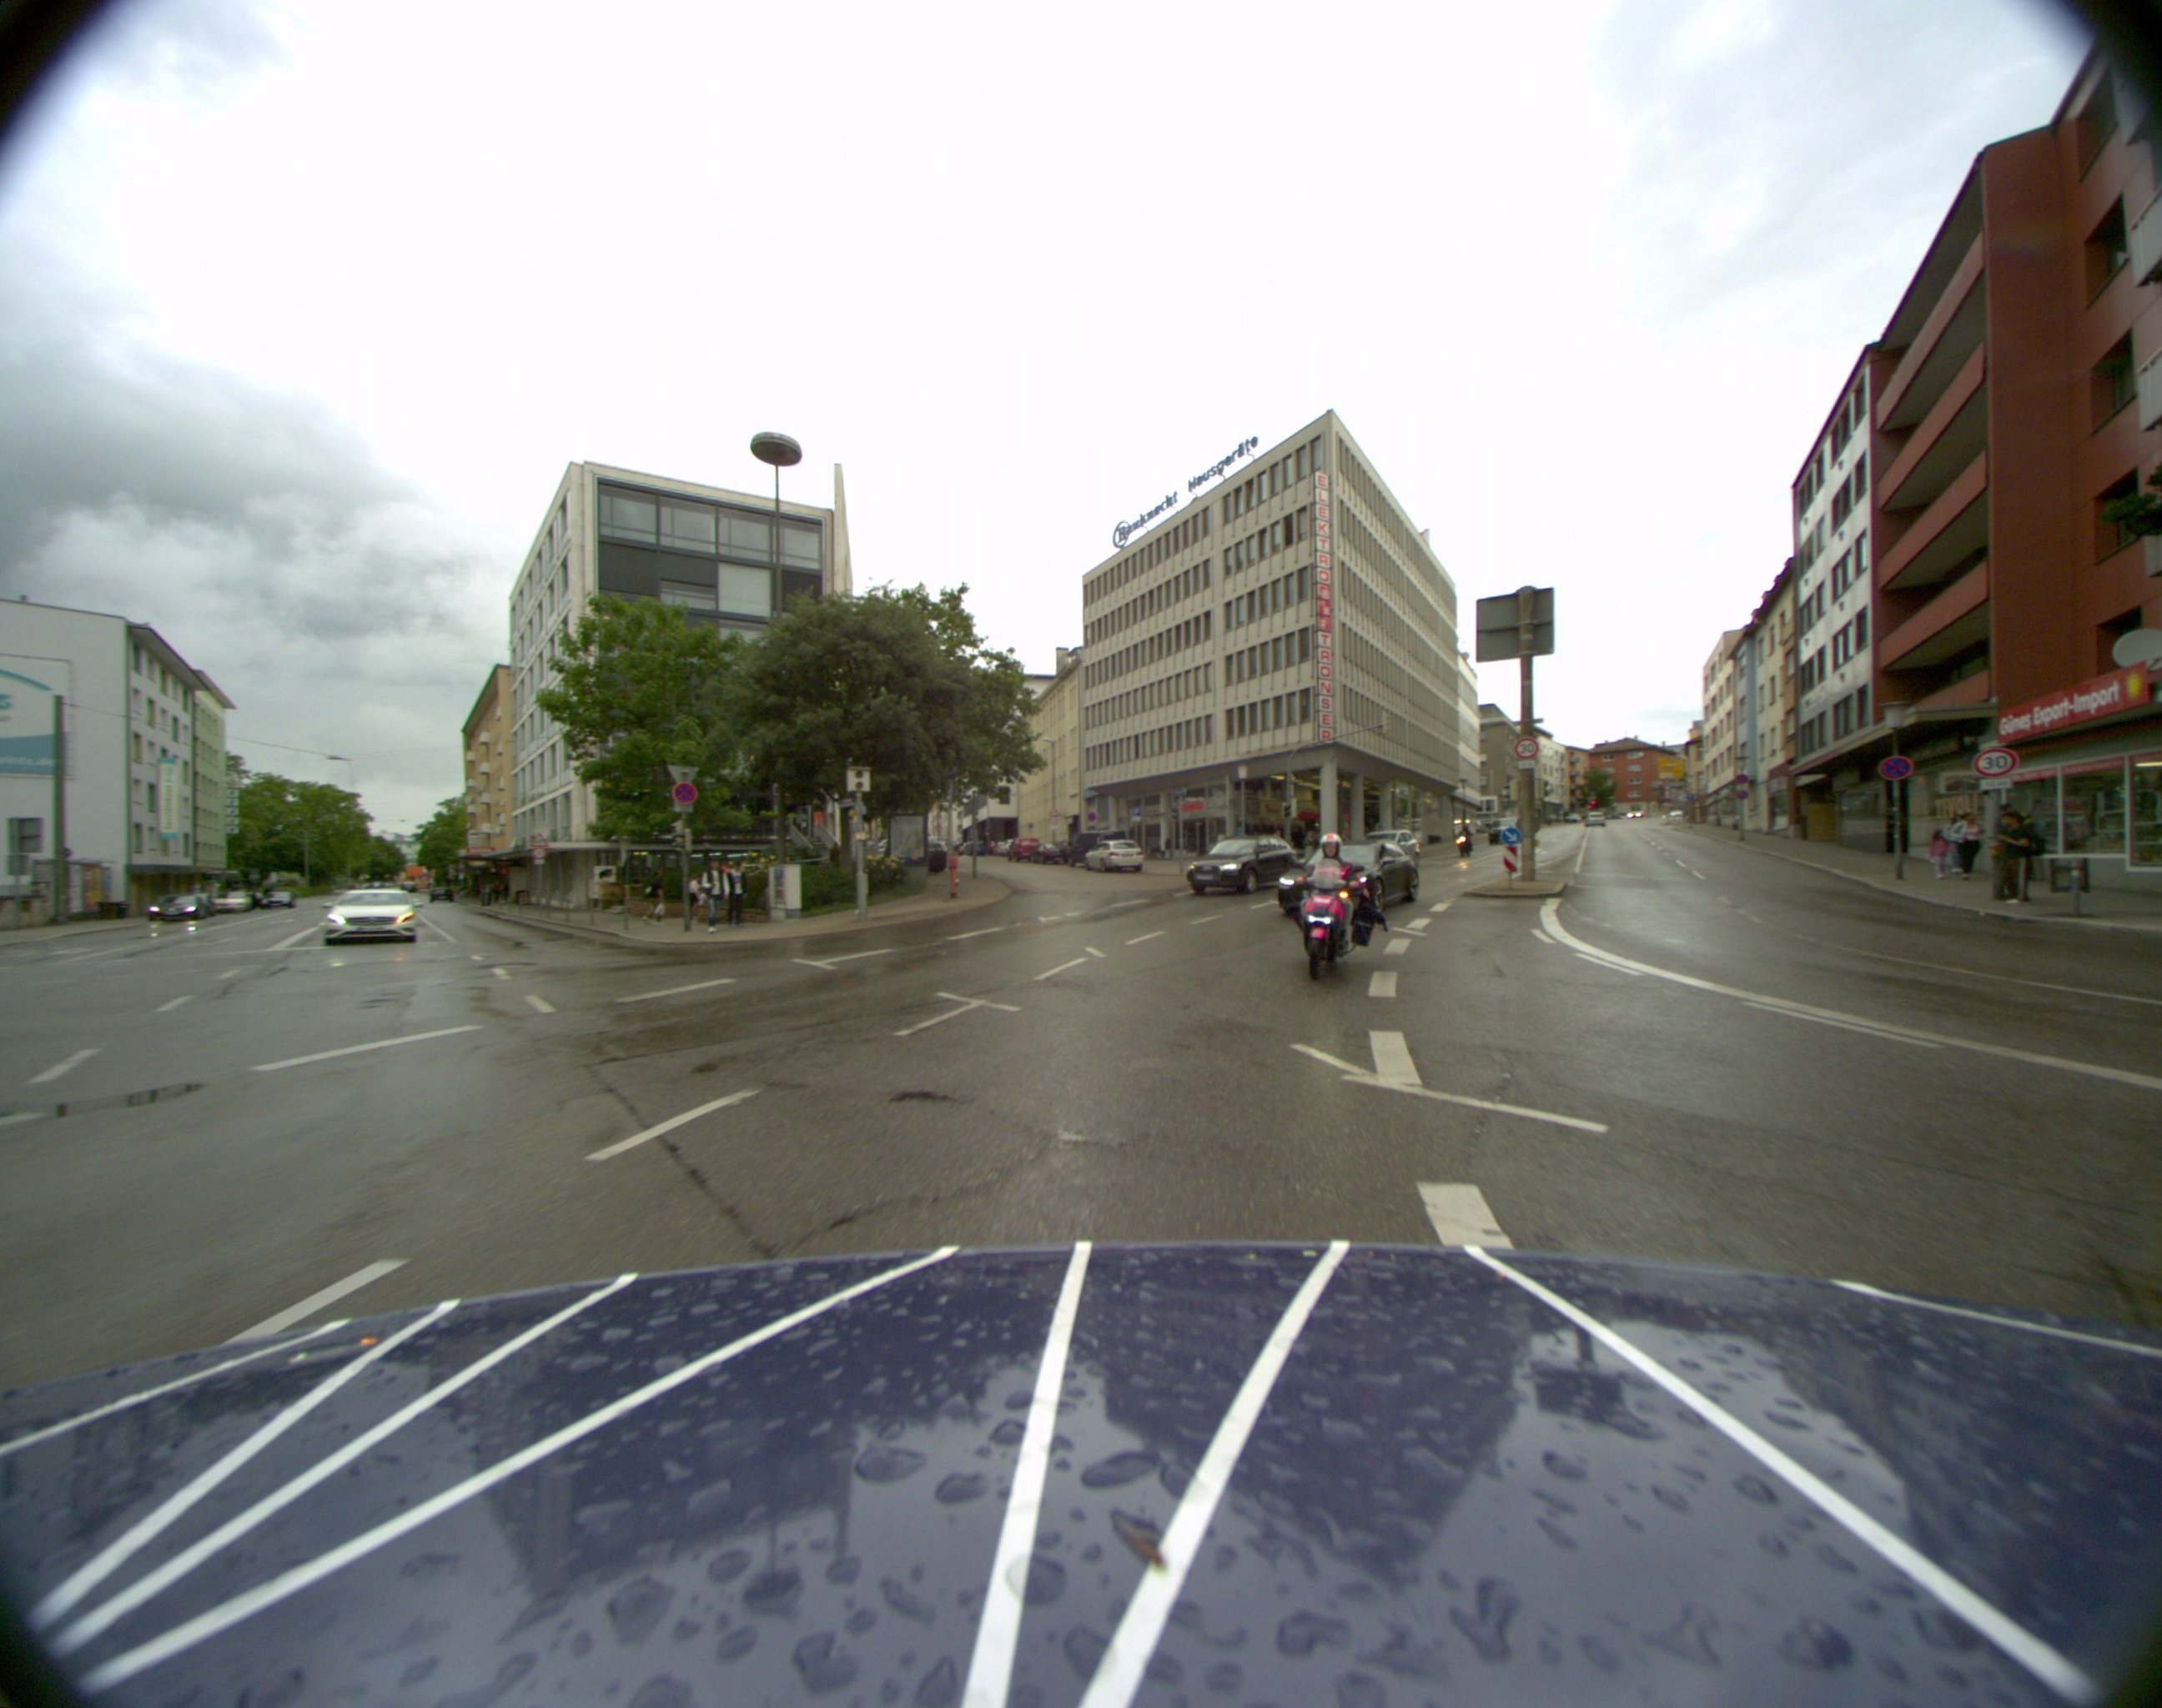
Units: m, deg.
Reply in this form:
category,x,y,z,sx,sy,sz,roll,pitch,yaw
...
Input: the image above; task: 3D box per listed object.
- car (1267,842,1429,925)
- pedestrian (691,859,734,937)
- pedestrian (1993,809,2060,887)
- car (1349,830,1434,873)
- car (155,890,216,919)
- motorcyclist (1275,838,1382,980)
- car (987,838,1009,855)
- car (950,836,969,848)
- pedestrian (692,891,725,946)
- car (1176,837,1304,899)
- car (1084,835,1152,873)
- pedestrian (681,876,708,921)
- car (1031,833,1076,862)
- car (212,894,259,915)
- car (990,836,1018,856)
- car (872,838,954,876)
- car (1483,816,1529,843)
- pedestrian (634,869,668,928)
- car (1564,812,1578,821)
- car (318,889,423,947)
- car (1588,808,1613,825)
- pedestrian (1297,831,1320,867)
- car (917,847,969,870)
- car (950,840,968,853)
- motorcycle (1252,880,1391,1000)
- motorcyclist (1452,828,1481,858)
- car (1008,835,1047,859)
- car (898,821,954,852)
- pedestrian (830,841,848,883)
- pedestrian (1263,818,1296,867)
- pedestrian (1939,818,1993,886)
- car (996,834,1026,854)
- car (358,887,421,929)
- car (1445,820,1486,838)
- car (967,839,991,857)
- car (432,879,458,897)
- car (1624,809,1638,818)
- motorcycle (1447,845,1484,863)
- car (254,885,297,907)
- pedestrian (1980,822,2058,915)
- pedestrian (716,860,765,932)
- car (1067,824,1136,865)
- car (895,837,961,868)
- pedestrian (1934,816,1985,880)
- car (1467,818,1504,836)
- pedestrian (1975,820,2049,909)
category,x,y,z,sx,sy,sz,roll,pitch,yaw
car,5.997,0.526,16.660,1.994,1.483,4.743,0,2,37
pedestrian,-9.297,1.110,19.168,0.594,1.864,0.787,-9,4,-38
pedestrian,22.185,-0.139,17.847,0.731,1.737,0.696,-5,0,35
car,12.988,-0.136,31.651,1.994,1.575,4.111,-2,1,41
car,-50.973,2.848,43.324,1.789,1.445,3.989,-4,1,-44
motorcyclist,3.034,0.627,9.274,1.090,1.596,0.954,-1,2,26
car,-9.238,-0.775,84.292,1.751,1.785,3.662,-3,1,-16
car,-17.386,-1.666,108.274,2.028,1.639,4.421,-3,1,-16
pedestrian,-12.915,2.232,26.351,0.790,1.803,0.591,-4,1,-38
car,4.727,0.345,22.218,1.867,1.538,4.111,-1,2,41
car,1.680,-0.019,36.809,2.003,1.622,4.608,-3,1,-14
pedestrian,-13.587,1.542,26.707,0.638,1.524,0.591,-4,1,-38
car,-1.893,-0.415,50.834,2.028,1.739,4.608,-3,1,-14
car,-64.262,3.818,57.736,3.989,1.445,2.004,-3,1,37
car,-8.165,-0.844,80.333,2.028,1.982,4.421,-3,1,-16
car,-7.777,0.119,35.371,3.547,1.551,1.738,-3,2,-10
car,28.686,-1.676,51.181,1.994,1.674,4.007,0,2,40
pedestrian,-13.792,1.405,24.369,0.790,1.803,0.591,-4,1,-38
car,81.149,-6.140,125.739,1.626,1.365,3.454,-2,1,37
car,-19.634,1.692,21.109,1.979,1.379,3.989,1,-2,-42
car,57.835,-4.189,84.605,1.994,1.728,4.007,-2,1,38
pedestrian,10.247,-0.237,34.268,0.715,1.613,0.723,-1,2,-11
car,-8.565,0.260,47.208,3.048,1.176,2.049,-3,2,-10
car,-18.379,-1.090,113.998,2.028,1.825,4.421,-3,1,-16
motorcycle,3.025,0.964,9.336,1.310,1.129,2.188,0,2,26
motorcyclist,19.156,-0.550,37.735,1.116,1.434,0.909,-2,2,-40
car,-4.098,-0.535,57.467,1.935,1.662,4.439,-3,1,-16
car,-12.366,-1.406,60.759,3.828,2.253,1.987,-2,3,17
pedestrian,-10.574,0.342,33.219,0.593,1.803,0.703,-4,1,-13
pedestrian,8.313,-0.500,31.893,0.995,2.002,0.946,-1,2,-15
pedestrian,21.831,-0.057,18.758,0.693,1.620,0.734,-2,2,34
car,-7.010,-0.991,75.524,2.028,1.891,4.421,-3,1,-16
car,-29.088,2.221,32.012,1.814,1.490,3.989,-4,1,-42
car,43.334,-2.816,85.692,3.989,1.945,1.750,-1,2,29
car,-11.199,-0.614,83.201,2.028,1.830,4.039,-3,1,-14
car,-62.171,3.322,74.337,1.831,1.565,3.989,-4,1,-40
car,102.951,-7.603,142.180,1.824,1.428,3.863,-2,1,41
motorcycle,19.131,-0.015,37.760,2.400,0.837,0.710,-2,2,-39
car,-67.886,3.499,64.017,4.112,1.610,2.004,0,2,36
pedestrian,18.140,0.265,14.711,0.731,1.738,0.744,-2,2,31
pedestrian,-8.867,1.085,19.787,0.784,1.740,0.787,-9,4,-38
car,1.065,-0.489,42.516,2.099,2.079,4.606,-3,1,-21
car,-8.781,-0.108,43.512,3.547,1.550,1.737,-3,2,-13
pedestrian,23.122,-0.160,20.013,0.693,1.620,0.734,-2,2,34
car,50.201,-3.370,94.262,3.989,2.002,2.003,-1,2,31
pedestrian,18.812,0.210,15.366,0.731,1.738,0.701,-2,2,31
